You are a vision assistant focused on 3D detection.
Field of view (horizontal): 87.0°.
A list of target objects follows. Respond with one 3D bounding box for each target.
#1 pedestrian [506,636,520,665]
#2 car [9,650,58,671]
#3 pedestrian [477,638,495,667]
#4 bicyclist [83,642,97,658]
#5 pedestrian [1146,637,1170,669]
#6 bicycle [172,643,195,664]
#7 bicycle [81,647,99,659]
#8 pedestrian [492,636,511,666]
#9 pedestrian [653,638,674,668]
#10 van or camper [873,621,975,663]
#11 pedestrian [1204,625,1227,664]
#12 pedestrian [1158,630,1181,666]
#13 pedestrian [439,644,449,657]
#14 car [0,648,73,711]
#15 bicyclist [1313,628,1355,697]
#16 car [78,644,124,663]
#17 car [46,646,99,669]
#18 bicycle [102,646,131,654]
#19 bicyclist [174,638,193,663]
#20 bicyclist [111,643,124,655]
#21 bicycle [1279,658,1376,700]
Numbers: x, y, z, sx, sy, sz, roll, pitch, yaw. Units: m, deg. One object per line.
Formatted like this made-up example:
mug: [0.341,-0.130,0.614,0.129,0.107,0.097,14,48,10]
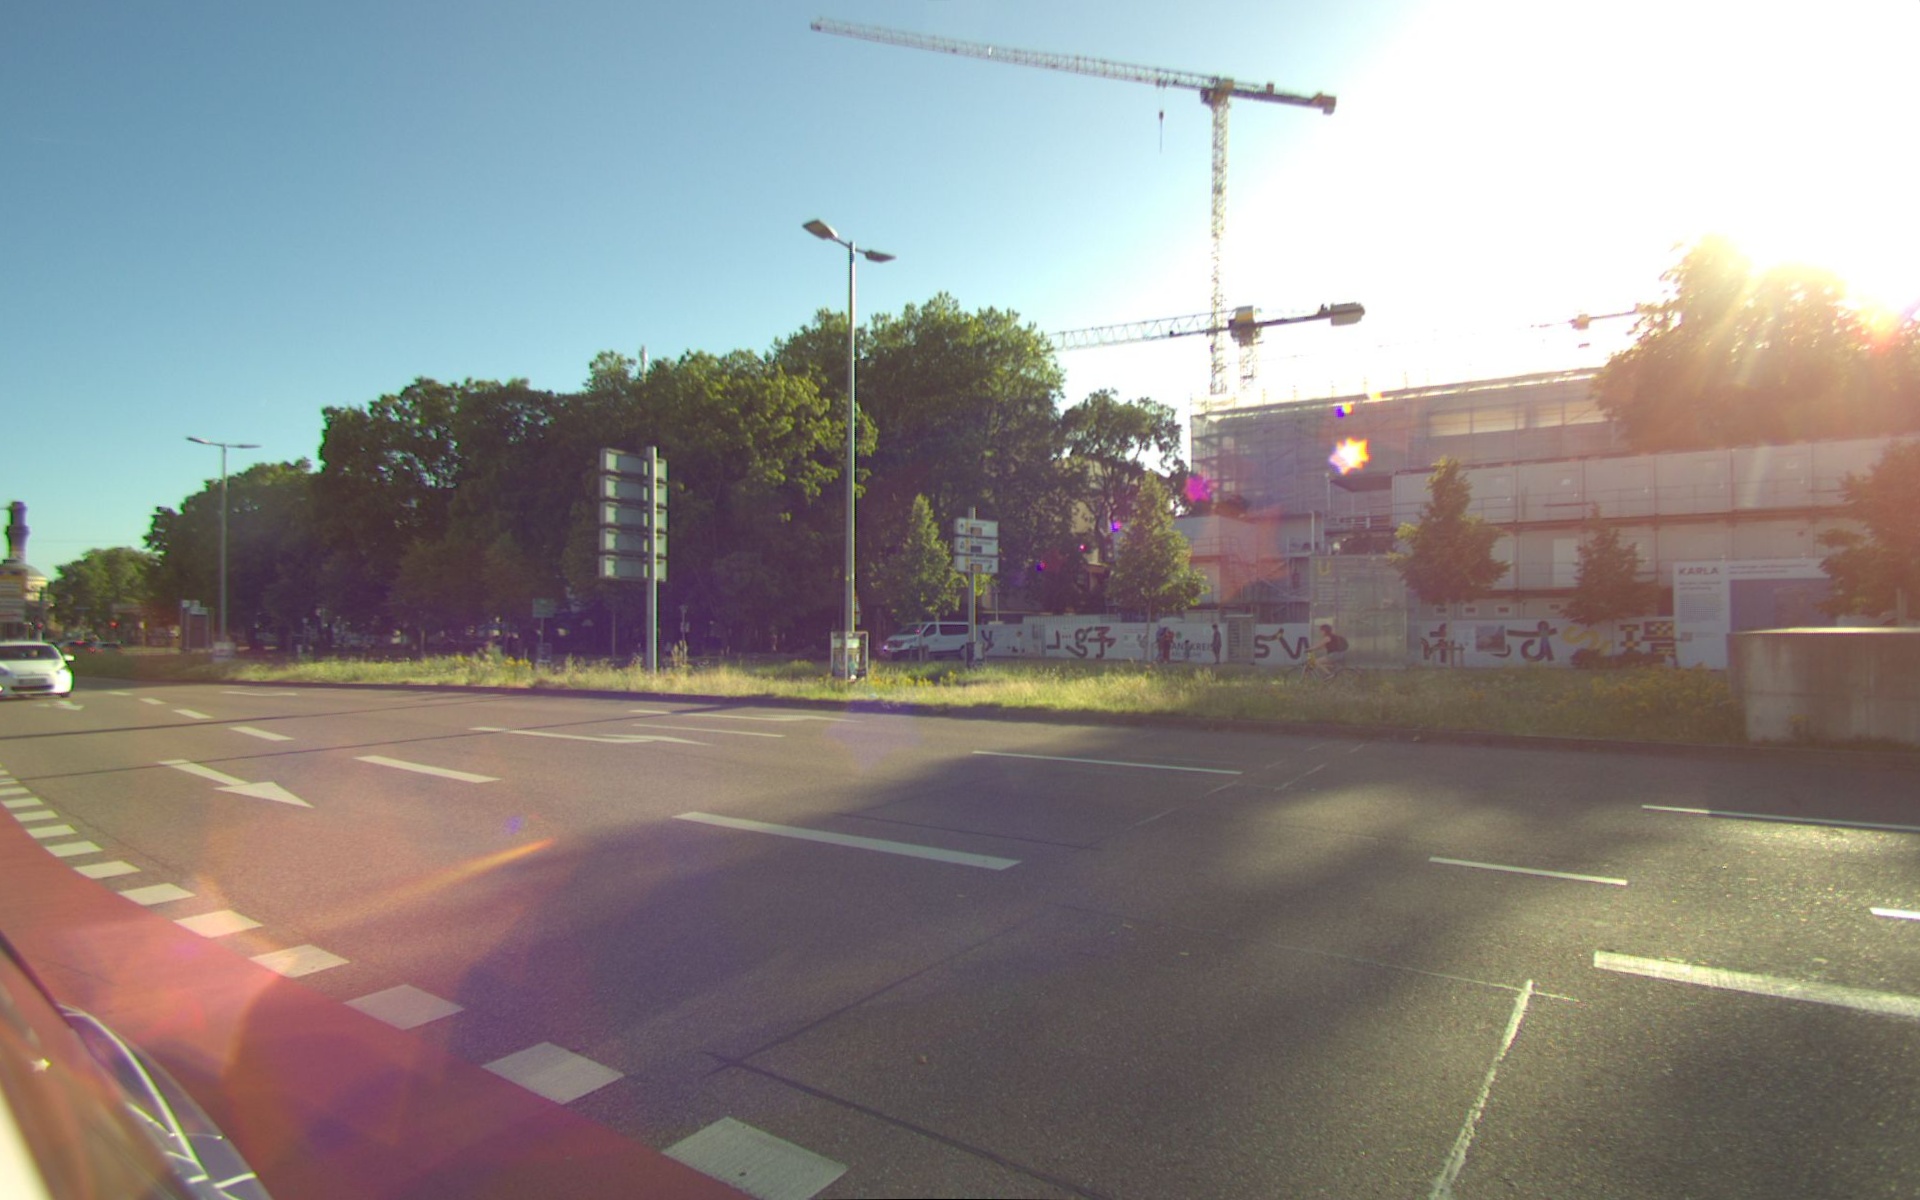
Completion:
pedestrian: [-26.667,3.020,60.427,0.654,1.754,0.519,-2,-3,40]
car: [-72.989,4.745,79.682,4.540,1.572,1.975,-2,-3,36]
pedestrian: [-27.693,3.051,59.143,0.725,1.653,0.735,-2,-3,40]
bicyclist: [-89.911,5.190,104.602,0.837,1.631,0.976,1,-3,-25]
pedestrian: [8.562,2.285,43.821,0.833,1.388,0.574,-3,-3,34]
bicycle: [-51.179,3.534,66.664,2.257,1.285,0.750,0,-2,42]
bicycle: [-89.925,5.482,104.629,0.832,1.240,2.021,1,-3,-25]
pedestrian: [-27.129,3.008,59.908,0.760,1.754,0.763,-2,-3,40]
pedestrian: [-15.124,2.708,51.568,0.942,1.539,0.606,-3,-4,41]
van or camper: [-1.776,2.174,52.237,2.254,2.029,5.610,0,-2,37]
pedestrian: [11.365,1.987,45.001,0.833,1.701,0.574,-3,-3,34]
pedestrian: [9.186,2.108,44.353,0.833,1.570,0.574,-3,-3,34]
pedestrian: [-52.610,5.137,103.266,0.599,1.350,0.724,-2,-3,39]
car: [-24.362,1.996,26.021,3.759,1.475,1.658,-2,-2,38]
bicyclist: [8.352,1.381,22.592,0.680,1.500,0.601,-3,-3,41]
car: [-70.966,4.400,83.568,4.579,1.538,1.915,-2,-3,37]
car: [-63.240,4.073,72.086,4.052,1.576,1.975,-2,-3,36]
bicycle: [-92.159,5.464,110.576,0.843,0.858,2.302,-3,-3,44]
bicyclist: [-51.150,3.315,66.639,1.202,1.602,0.739,0,-2,42]
bicyclist: [-92.119,5.341,110.652,0.827,1.372,0.959,-3,-3,43]
bicycle: [8.227,1.750,22.688,1.950,0.868,0.605,-3,-3,42]
